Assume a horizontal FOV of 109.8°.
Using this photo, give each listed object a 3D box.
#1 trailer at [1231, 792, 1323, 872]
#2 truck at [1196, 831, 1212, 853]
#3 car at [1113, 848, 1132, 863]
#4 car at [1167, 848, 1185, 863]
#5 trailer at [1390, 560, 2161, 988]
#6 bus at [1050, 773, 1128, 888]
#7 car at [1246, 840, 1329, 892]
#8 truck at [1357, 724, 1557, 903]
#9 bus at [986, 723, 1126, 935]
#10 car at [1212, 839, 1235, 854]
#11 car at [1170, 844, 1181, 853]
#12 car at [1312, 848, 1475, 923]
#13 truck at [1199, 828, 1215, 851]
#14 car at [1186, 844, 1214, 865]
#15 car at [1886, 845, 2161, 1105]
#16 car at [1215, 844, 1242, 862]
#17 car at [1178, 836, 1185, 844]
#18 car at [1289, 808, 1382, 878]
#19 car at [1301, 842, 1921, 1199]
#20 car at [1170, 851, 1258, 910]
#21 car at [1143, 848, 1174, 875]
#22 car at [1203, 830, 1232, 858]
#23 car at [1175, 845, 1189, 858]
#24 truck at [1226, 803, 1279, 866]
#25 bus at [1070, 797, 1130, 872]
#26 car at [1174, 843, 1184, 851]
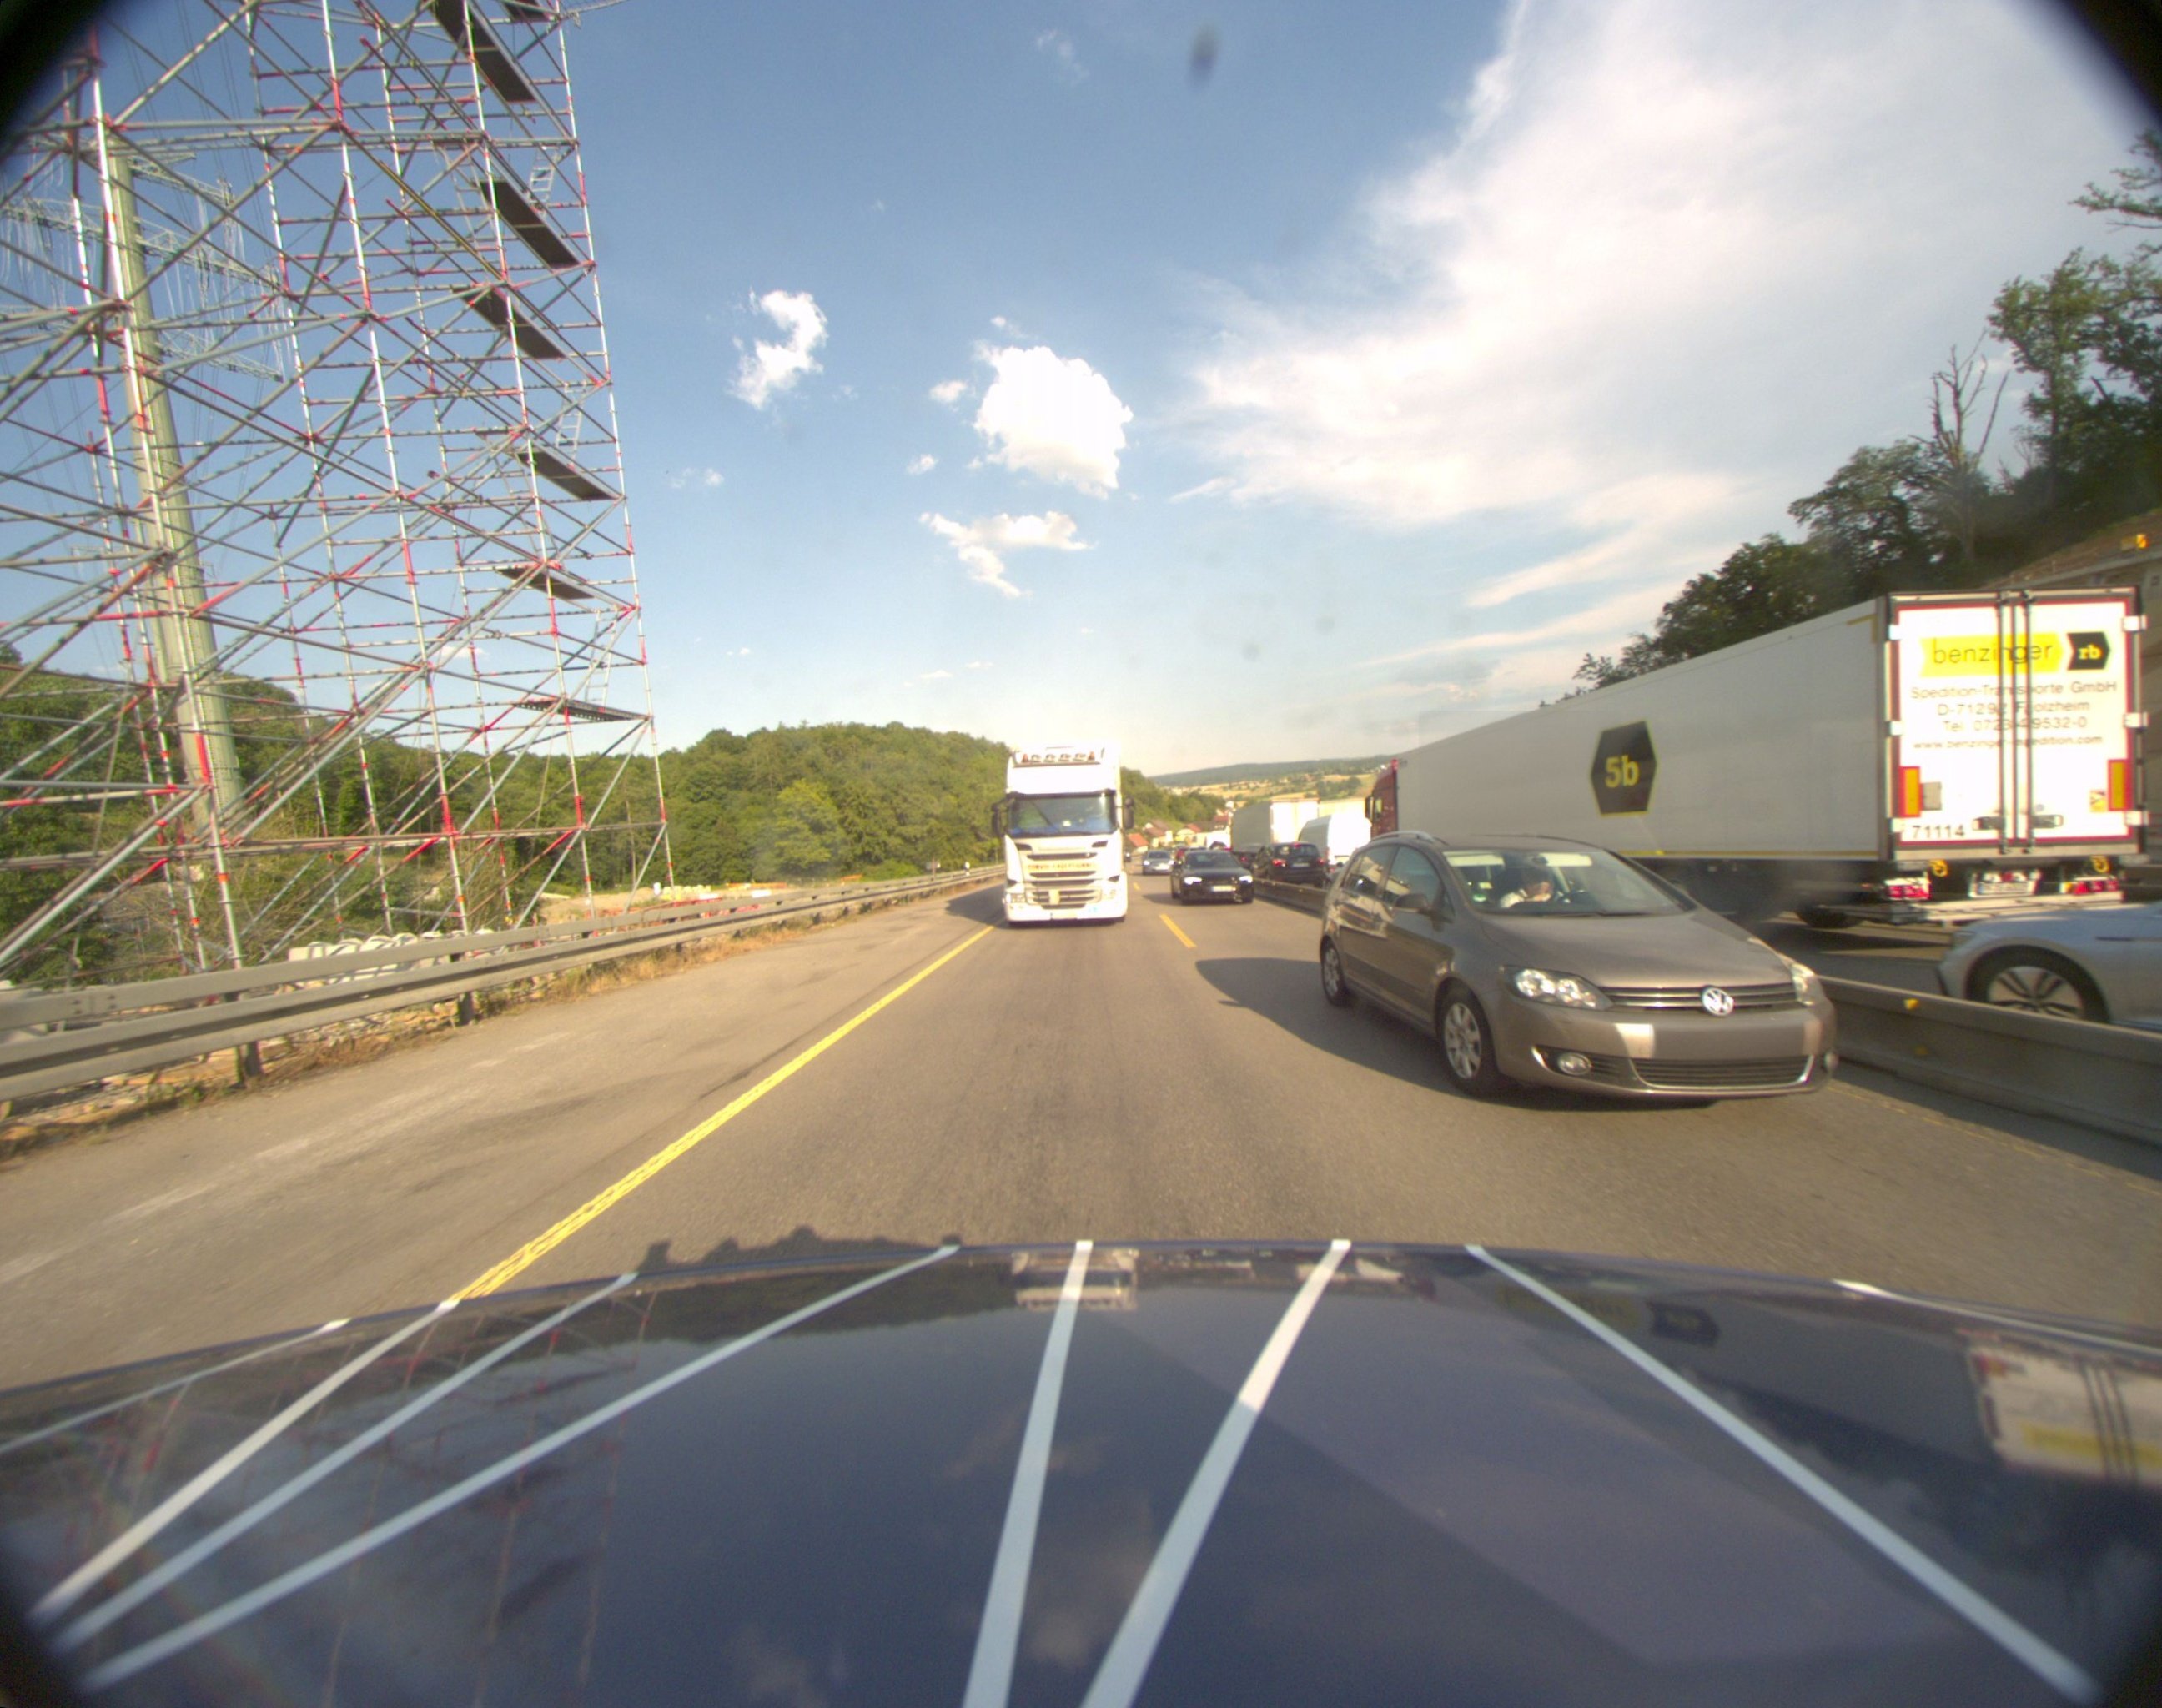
[{"bbox_3d":[11.785,-1.264,47.303,2.727,4.194,13.749,-2,1,3],"label":"trailer"},{"bbox_3d":[20.604,-1.962,126.943,2.451,3.443,7.621,-1,1,10],"label":"truck"},{"bbox_3d":[4.780,0.134,88.195,1.998,1.630,3.999,-2,1,0],"label":"car"},{"bbox_3d":[10.789,0.151,86.071,1.891,1.559,4.458,-3,0,8],"label":"car"},{"bbox_3d":[10.118,-0.908,14.754,2.773,4.309,13.879,-2,1,1],"label":"trailer"},{"bbox_3d":[0.499,-0.971,35.486,2.985,4.553,9.968,-2,0,2],"label":"bus"},{"bbox_3d":[7.214,0.367,27.073,1.756,1.648,4.863,-2,1,2],"label":"car"},{"bbox_3d":[10.266,-1.018,21.505,2.751,4.275,5.933,-2,1,1],"label":"truck"},{"bbox_3d":[-0.222,-0.589,20.442,2.635,4.077,11.313,-1,1,3],"label":"bus"},{"bbox_3d":[14.066,-0.747,75.263,1.752,1.414,4.611,-3,1,6],"label":"car"},{"bbox_3d":[16.286,-0.944,130.653,1.821,1.569,4.757,0,0,6],"label":"car"},{"bbox_3d":[6.929,0.602,17.479,1.735,1.369,4.890,-4,1,1],"label":"car"},{"bbox_3d":[23.285,-2.671,140.983,2.712,4.065,14.160,-1,1,9],"label":"truck"},{"bbox_3d":[9.295,0.007,59.803,1.873,1.579,4.805,-2,1,6],"label":"car"},{"bbox_3d":[6.825,0.677,3.223,1.736,1.431,4.837,0,1,1],"label":"car"},{"bbox_3d":[12.675,-0.129,65.547,1.747,1.452,4.714,-2,0,5],"label":"car"},{"bbox_3d":[28.072,-3.874,211.390,1.821,1.988,4.757,0,0,6],"label":"car"},{"bbox_3d":[11.067,-0.391,33.691,2.026,2.674,6.951,-3,-1,4],"label":"car"},{"bbox_3d":[2.981,0.730,5.476,1.688,1.565,4.099,-2,1,2],"label":"car"},{"bbox_3d":[3.590,0.652,21.150,1.867,1.391,4.000,-1,1,2],"label":"car"},{"bbox_3d":[4.523,0.406,44.423,1.698,1.390,4.002,-3,0,6],"label":"car"},{"bbox_3d":[14.815,-1.109,83.133,2.339,2.901,7.633,-1,1,4],"label":"car"},{"bbox_3d":[14.084,-0.337,106.142,1.808,1.761,5.456,-2,-1,6],"label":"car"},{"bbox_3d":[12.155,-1.373,54.321,2.719,4.194,5.682,-2,1,3],"label":"truck"},{"bbox_3d":[1.540,-1.267,52.603,2.983,4.553,10.908,-2,0,7],"label":"bus"},{"bbox_3d":[19.847,-1.478,154.446,1.821,1.569,4.757,0,0,6],"label":"car"}]
